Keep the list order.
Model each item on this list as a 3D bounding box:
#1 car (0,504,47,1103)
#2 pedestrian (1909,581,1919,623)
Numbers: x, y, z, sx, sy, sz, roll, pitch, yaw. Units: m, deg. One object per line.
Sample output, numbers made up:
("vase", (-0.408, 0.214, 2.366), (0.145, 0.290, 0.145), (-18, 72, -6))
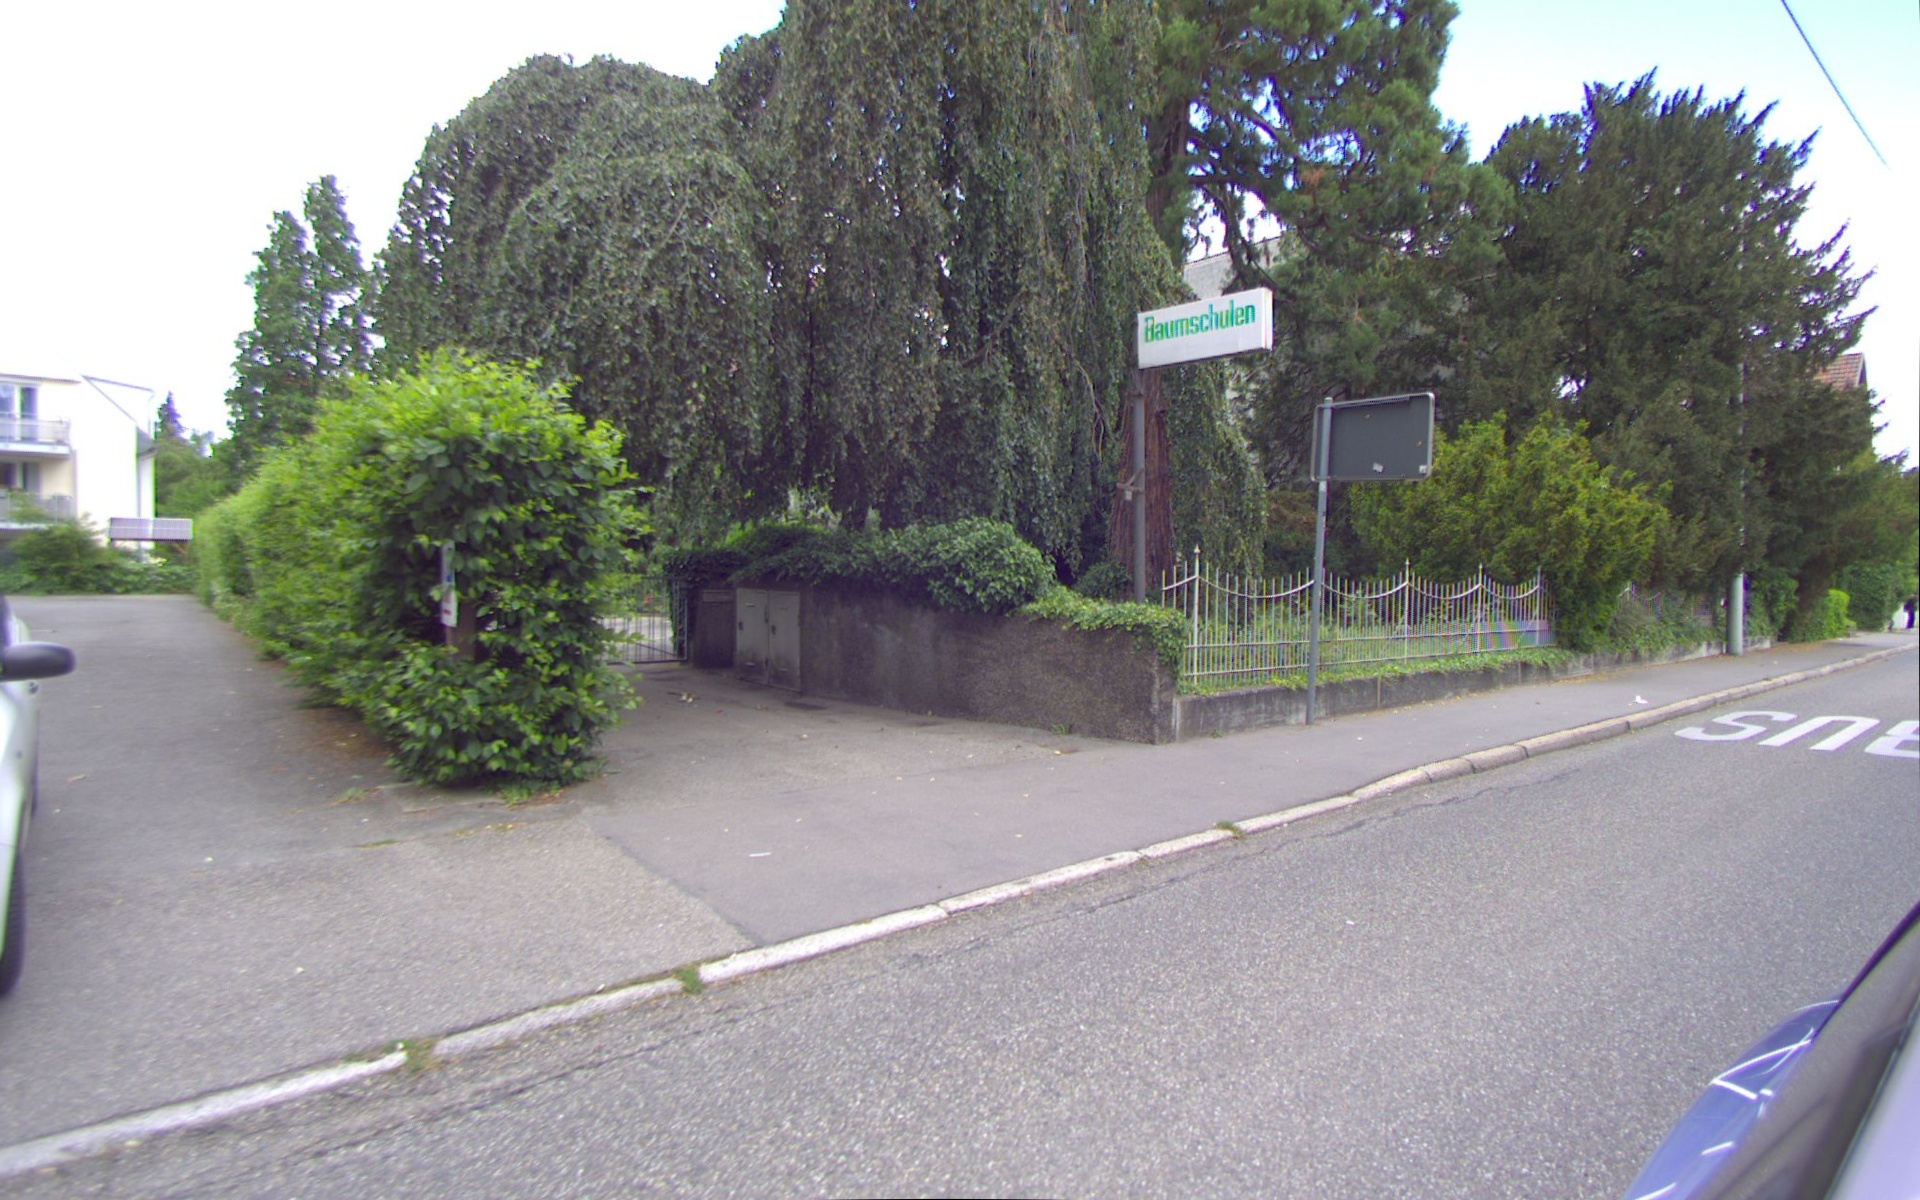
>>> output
("car", (-4.401, 0.426, 3.685), (1.574, 1.487, 4.037), (-1, 6, -42))
("pedestrian", (41.272, 0.065, 43.415), (0.657, 1.789, 0.491), (0, 0, -9))
